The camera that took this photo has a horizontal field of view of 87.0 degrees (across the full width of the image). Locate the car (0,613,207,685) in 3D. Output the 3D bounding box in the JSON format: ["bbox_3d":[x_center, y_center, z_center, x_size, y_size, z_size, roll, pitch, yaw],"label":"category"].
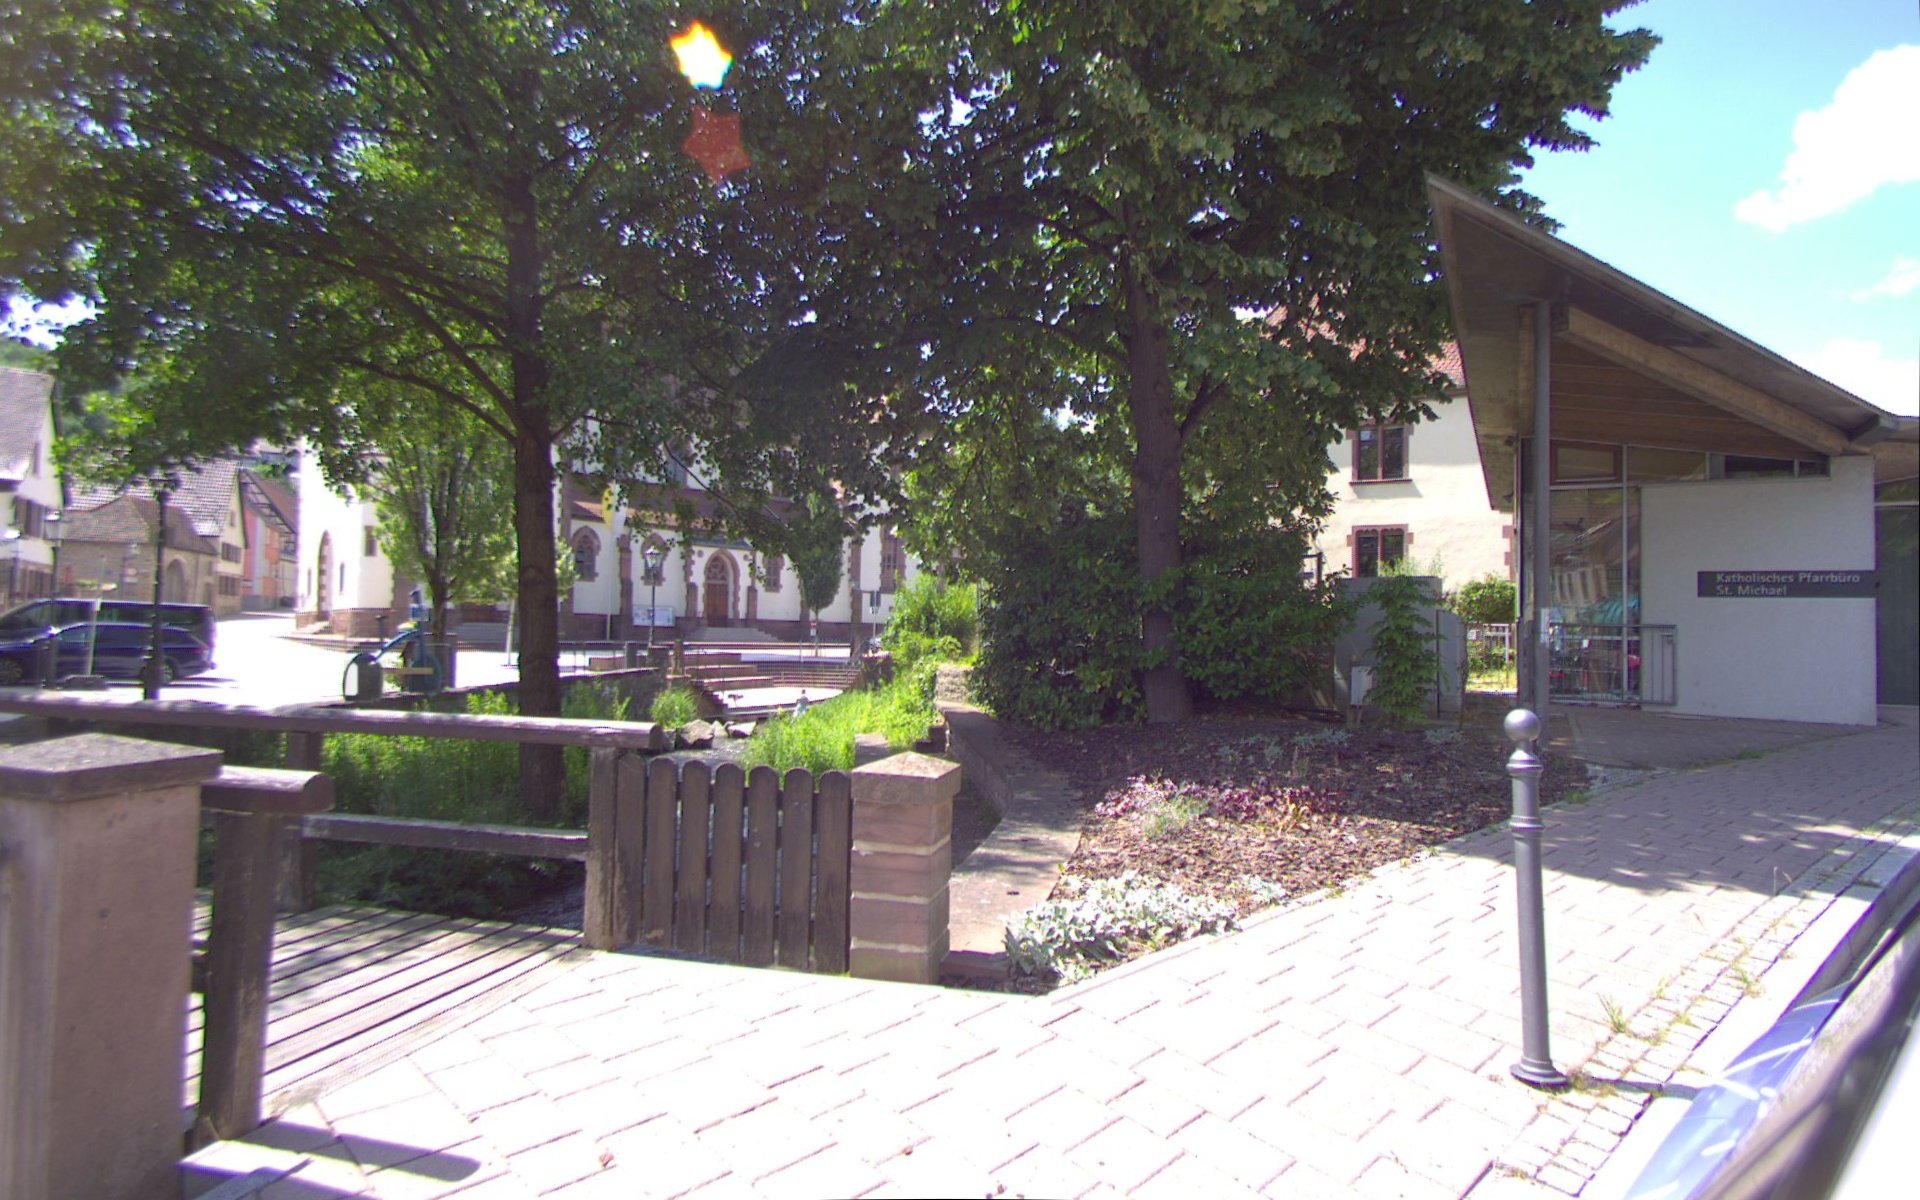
[{"bbox_3d":[-20.476,1.155,23.577,1.585,1.501,4.465,1,-3,45],"label":"car"}]

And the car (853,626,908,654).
[{"bbox_3d":[-4.377,2.204,56.301,1.650,1.524,3.783,-1,-2,21],"label":"car"}]

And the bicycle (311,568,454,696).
[{"bbox_3d":[-10.009,0.551,17.701,0.769,2.040,2.662,-3,-2,5],"label":"bicycle"}]

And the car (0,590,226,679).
[{"bbox_3d":[-22.109,0.904,25.894,1.954,2.053,5.039,1,-3,45],"label":"car"}]
